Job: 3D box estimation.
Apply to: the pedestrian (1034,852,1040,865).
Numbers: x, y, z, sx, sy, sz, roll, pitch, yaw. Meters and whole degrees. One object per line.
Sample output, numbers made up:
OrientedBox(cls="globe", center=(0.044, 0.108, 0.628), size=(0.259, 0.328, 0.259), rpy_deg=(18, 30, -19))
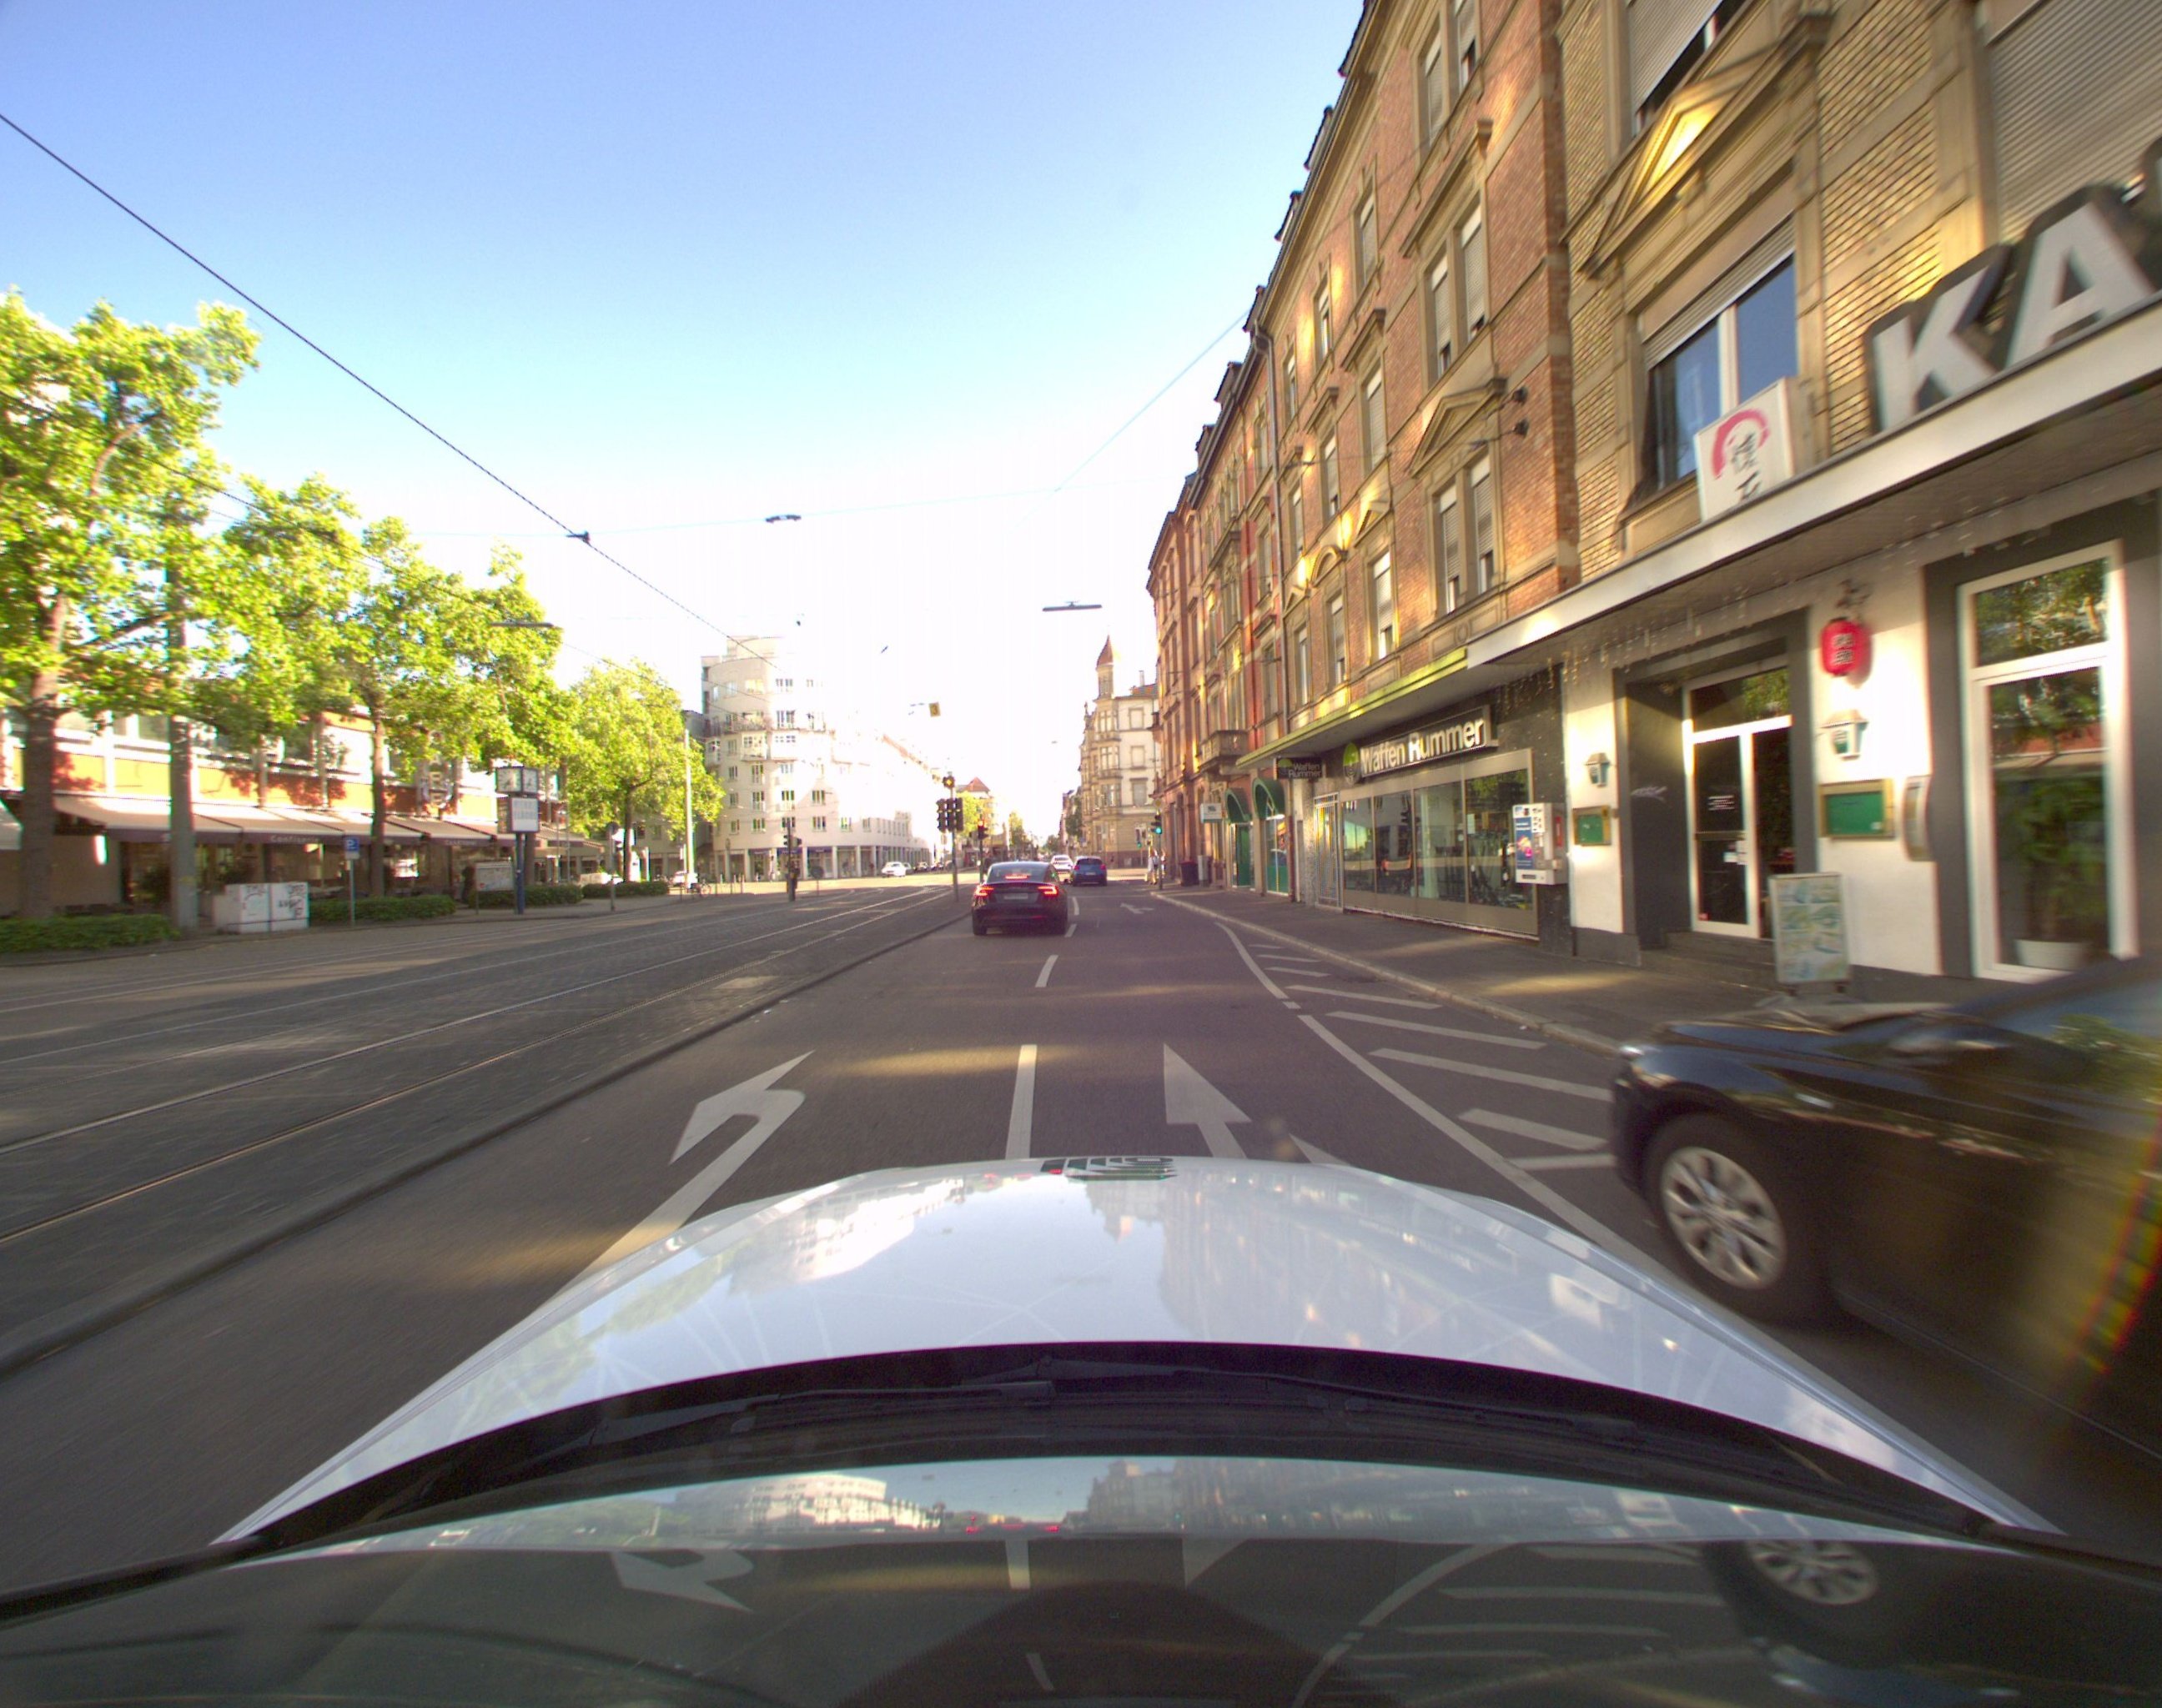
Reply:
OrientedBox(cls="pedestrian", center=(-6.259, 0.640, 115.272), size=(0.633, 1.698, 0.934), rpy_deg=(-1, -1, 5))

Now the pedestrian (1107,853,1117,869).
OrientedBox(cls="pedestrian", center=(3.158, 0.743, 83.778), size=(0.918, 1.632, 0.943), rpy_deg=(-2, -1, 6))

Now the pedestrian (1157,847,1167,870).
OrientedBox(cls="pedestrian", center=(6.173, 0.369, 62.080), size=(0.638, 1.745, 0.708), rpy_deg=(-1, -2, 19))

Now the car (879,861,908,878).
OrientedBox(cls="car", center=(-17.859, 1.418, 77.714), size=(1.990, 1.451, 4.495), rpy_deg=(-2, 0, -4))

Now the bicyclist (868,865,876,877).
OrientedBox(cls="bicyclist", center=(-22.183, 1.789, 86.418), size=(0.587, 1.285, 0.926), rpy_deg=(-2, -1, -2))

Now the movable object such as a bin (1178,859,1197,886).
OrientedBox(cls="movable object such as a bin", center=(4.608, 0.802, 35.321), size=(0.661, 1.072, 0.591), rpy_deg=(-5, 0, -1))

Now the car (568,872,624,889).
OrientedBox(cls="car", center=(-44.729, 2.431, 75.198), size=(3.980, 1.403, 1.804), rpy_deg=(-1, 1, 1))

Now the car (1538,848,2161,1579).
OrientedBox(cls="car", center=(2.988, 0.707, 1.511), size=(1.686, 1.451, 4.355), rpy_deg=(0, 0, -3))

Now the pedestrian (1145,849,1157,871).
OrientedBox(cls="pedestrian", center=(5.341, 0.439, 62.314), size=(0.694, 1.655, 0.635), rpy_deg=(-3, -1, 19))

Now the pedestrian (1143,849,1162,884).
OrientedBox(cls="pedestrian", center=(3.426, 0.591, 38.919), size=(0.681, 1.607, 0.728), rpy_deg=(-2, 0, -12))

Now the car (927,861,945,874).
OrientedBox(cls="car", center=(-22.048, 2.063, 123.994), size=(2.222, 1.911, 4.603), rpy_deg=(-2, 0, -3))

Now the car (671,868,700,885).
OrientedBox(cls="car", center=(-38.079, 2.132, 78.532), size=(1.801, 1.403, 4.080), rpy_deg=(-2, 2, -16))

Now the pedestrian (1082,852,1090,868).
OrientedBox(cls="pedestrian", center=(0.526, 0.632, 90.868), size=(0.778, 1.749, 1.091), rpy_deg=(-2, 1, -5))

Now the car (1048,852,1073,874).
OrientedBox(cls="car", center=(-1.679, 0.781, 66.473), size=(1.988, 1.743, 3.996), rpy_deg=(0, -1, -2))

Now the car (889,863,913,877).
OrientedBox(cls="car", center=(-20.735, 1.830, 94.203), size=(1.990, 1.451, 4.643), rpy_deg=(-2, 0, -4))

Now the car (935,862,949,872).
OrientedBox(cls="car", center=(-22.361, 2.108, 131.407), size=(1.725, 1.515, 4.399), rpy_deg=(-2, 0, -3))

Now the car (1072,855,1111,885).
OrientedBox(cls="car", center=(0.476, 0.771, 40.784), size=(1.776, 1.451, 3.651), rpy_deg=(0, 0, -2))

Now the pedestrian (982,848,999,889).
OrientedBox(cls="pedestrian", center=(-4.012, 0.652, 36.157), size=(0.556, 1.763, 0.894), rpy_deg=(-4, 0, -3))

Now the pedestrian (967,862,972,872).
OrientedBox(cls="pedestrian", center=(-16.747, 1.954, 122.385), size=(0.730, 1.527, 0.742), rpy_deg=(-2, 0, -4))

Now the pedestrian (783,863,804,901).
OrientedBox(cls="pedestrian", center=(-11.952, 1.166, 33.827), size=(0.498, 1.517, 0.858), rpy_deg=(-4, 0, -3))

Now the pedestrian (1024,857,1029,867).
OrientedBox(cls="pedestrian", center=(-8.040, 1.176, 119.724), size=(0.579, 1.562, 0.473), rpy_deg=(-2, 0, 33))

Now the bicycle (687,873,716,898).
OrientedBox(cls="bicycle", center=(-19.086, 1.563, 40.978), size=(0.496, 1.186, 2.232), rpy_deg=(-2, 0, -4))

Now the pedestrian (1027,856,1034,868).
OrientedBox(cls="pedestrian", center=(-7.426, 1.192, 120.264), size=(0.710, 1.777, 0.569), rpy_deg=(-2, 0, 33))

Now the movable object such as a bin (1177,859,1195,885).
OrientedBox(cls="movable object such as a bin", center=(4.625, 0.795, 35.909), size=(0.661, 1.072, 0.545), rpy_deg=(-5, 0, -1))

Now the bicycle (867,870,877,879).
OrientedBox(cls="bicycle", center=(-22.167, 2.150, 86.556), size=(0.592, 0.972, 1.816), rpy_deg=(-2, -1, -2))

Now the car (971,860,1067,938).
OrientedBox(cls="car", center=(-1.265, 0.863, 17.434), size=(1.806, 1.424, 4.149), rpy_deg=(0, 0, -3))

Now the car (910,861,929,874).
OrientedBox(cls="car", center=(-21.886, 1.830, 110.447), size=(1.990, 1.596, 3.993), rpy_deg=(-2, -1, -5))
